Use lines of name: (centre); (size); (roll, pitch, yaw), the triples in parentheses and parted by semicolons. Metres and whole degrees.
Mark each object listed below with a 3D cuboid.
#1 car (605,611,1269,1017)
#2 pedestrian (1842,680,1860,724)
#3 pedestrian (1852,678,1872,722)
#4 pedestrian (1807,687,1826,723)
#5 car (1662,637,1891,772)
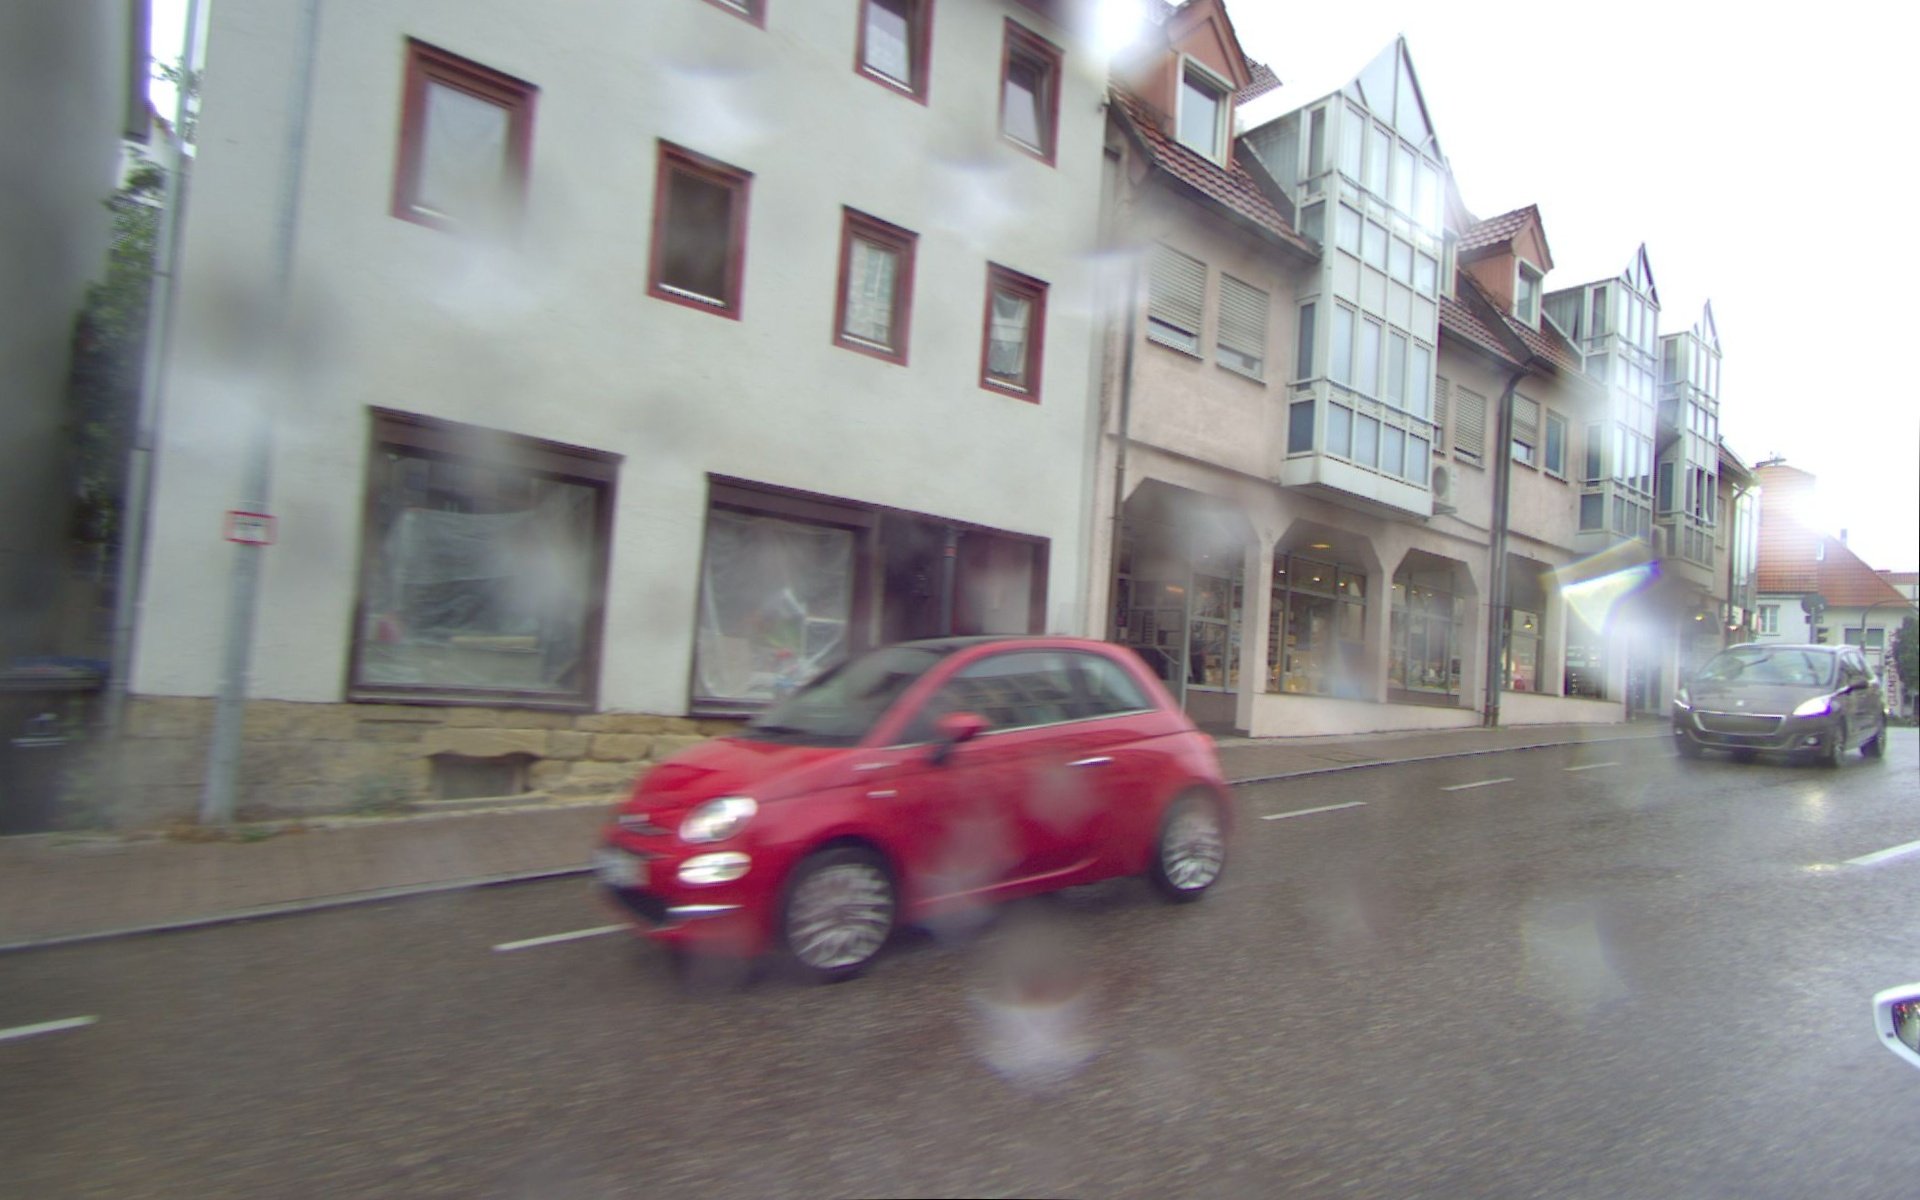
car: (0.013, 0.904, 5.546); (3.418, 1.556, 1.548); (2, -4, -37)
pedestrian: (38.590, 4.405, 43.504); (0.528, 1.895, 0.631); (-2, -5, 41)
pedestrian: (40.210, 4.455, 44.795); (0.596, 1.891, 0.745); (-2, -5, 41)
pedestrian: (38.122, 4.666, 44.719); (0.586, 1.579, 0.631); (-2, -5, 41)
car: (11.811, 1.387, 14.441); (4.181, 1.651, 1.768); (2, -2, -39)
